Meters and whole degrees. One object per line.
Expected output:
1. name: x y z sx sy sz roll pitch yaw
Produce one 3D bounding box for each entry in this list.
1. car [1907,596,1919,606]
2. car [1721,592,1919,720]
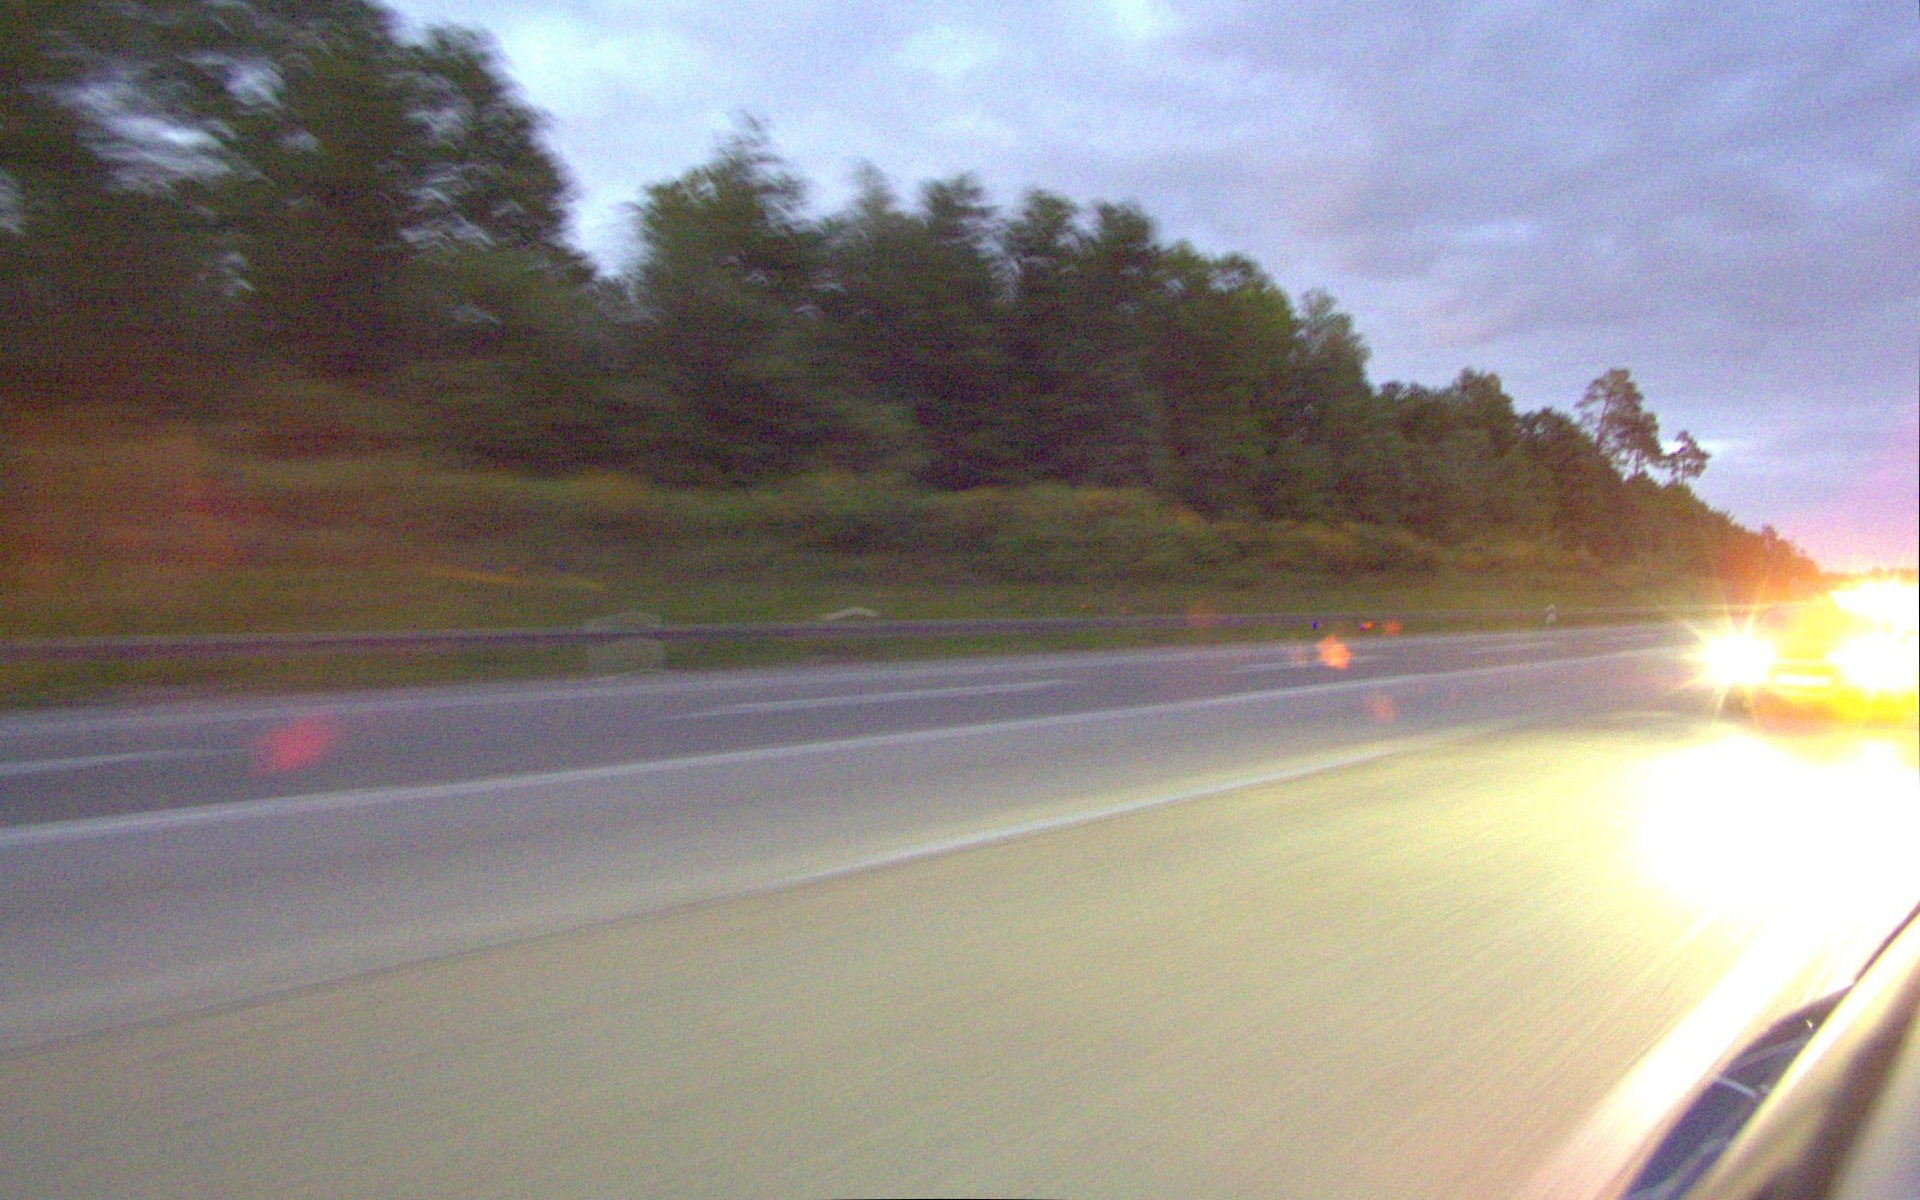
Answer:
1. car: 155.434 0.154 164.573 3.934 1.568 1.995 0 0 -44
2. car: 12.048 0.647 13.876 4.376 1.461 1.877 0 0 -43
